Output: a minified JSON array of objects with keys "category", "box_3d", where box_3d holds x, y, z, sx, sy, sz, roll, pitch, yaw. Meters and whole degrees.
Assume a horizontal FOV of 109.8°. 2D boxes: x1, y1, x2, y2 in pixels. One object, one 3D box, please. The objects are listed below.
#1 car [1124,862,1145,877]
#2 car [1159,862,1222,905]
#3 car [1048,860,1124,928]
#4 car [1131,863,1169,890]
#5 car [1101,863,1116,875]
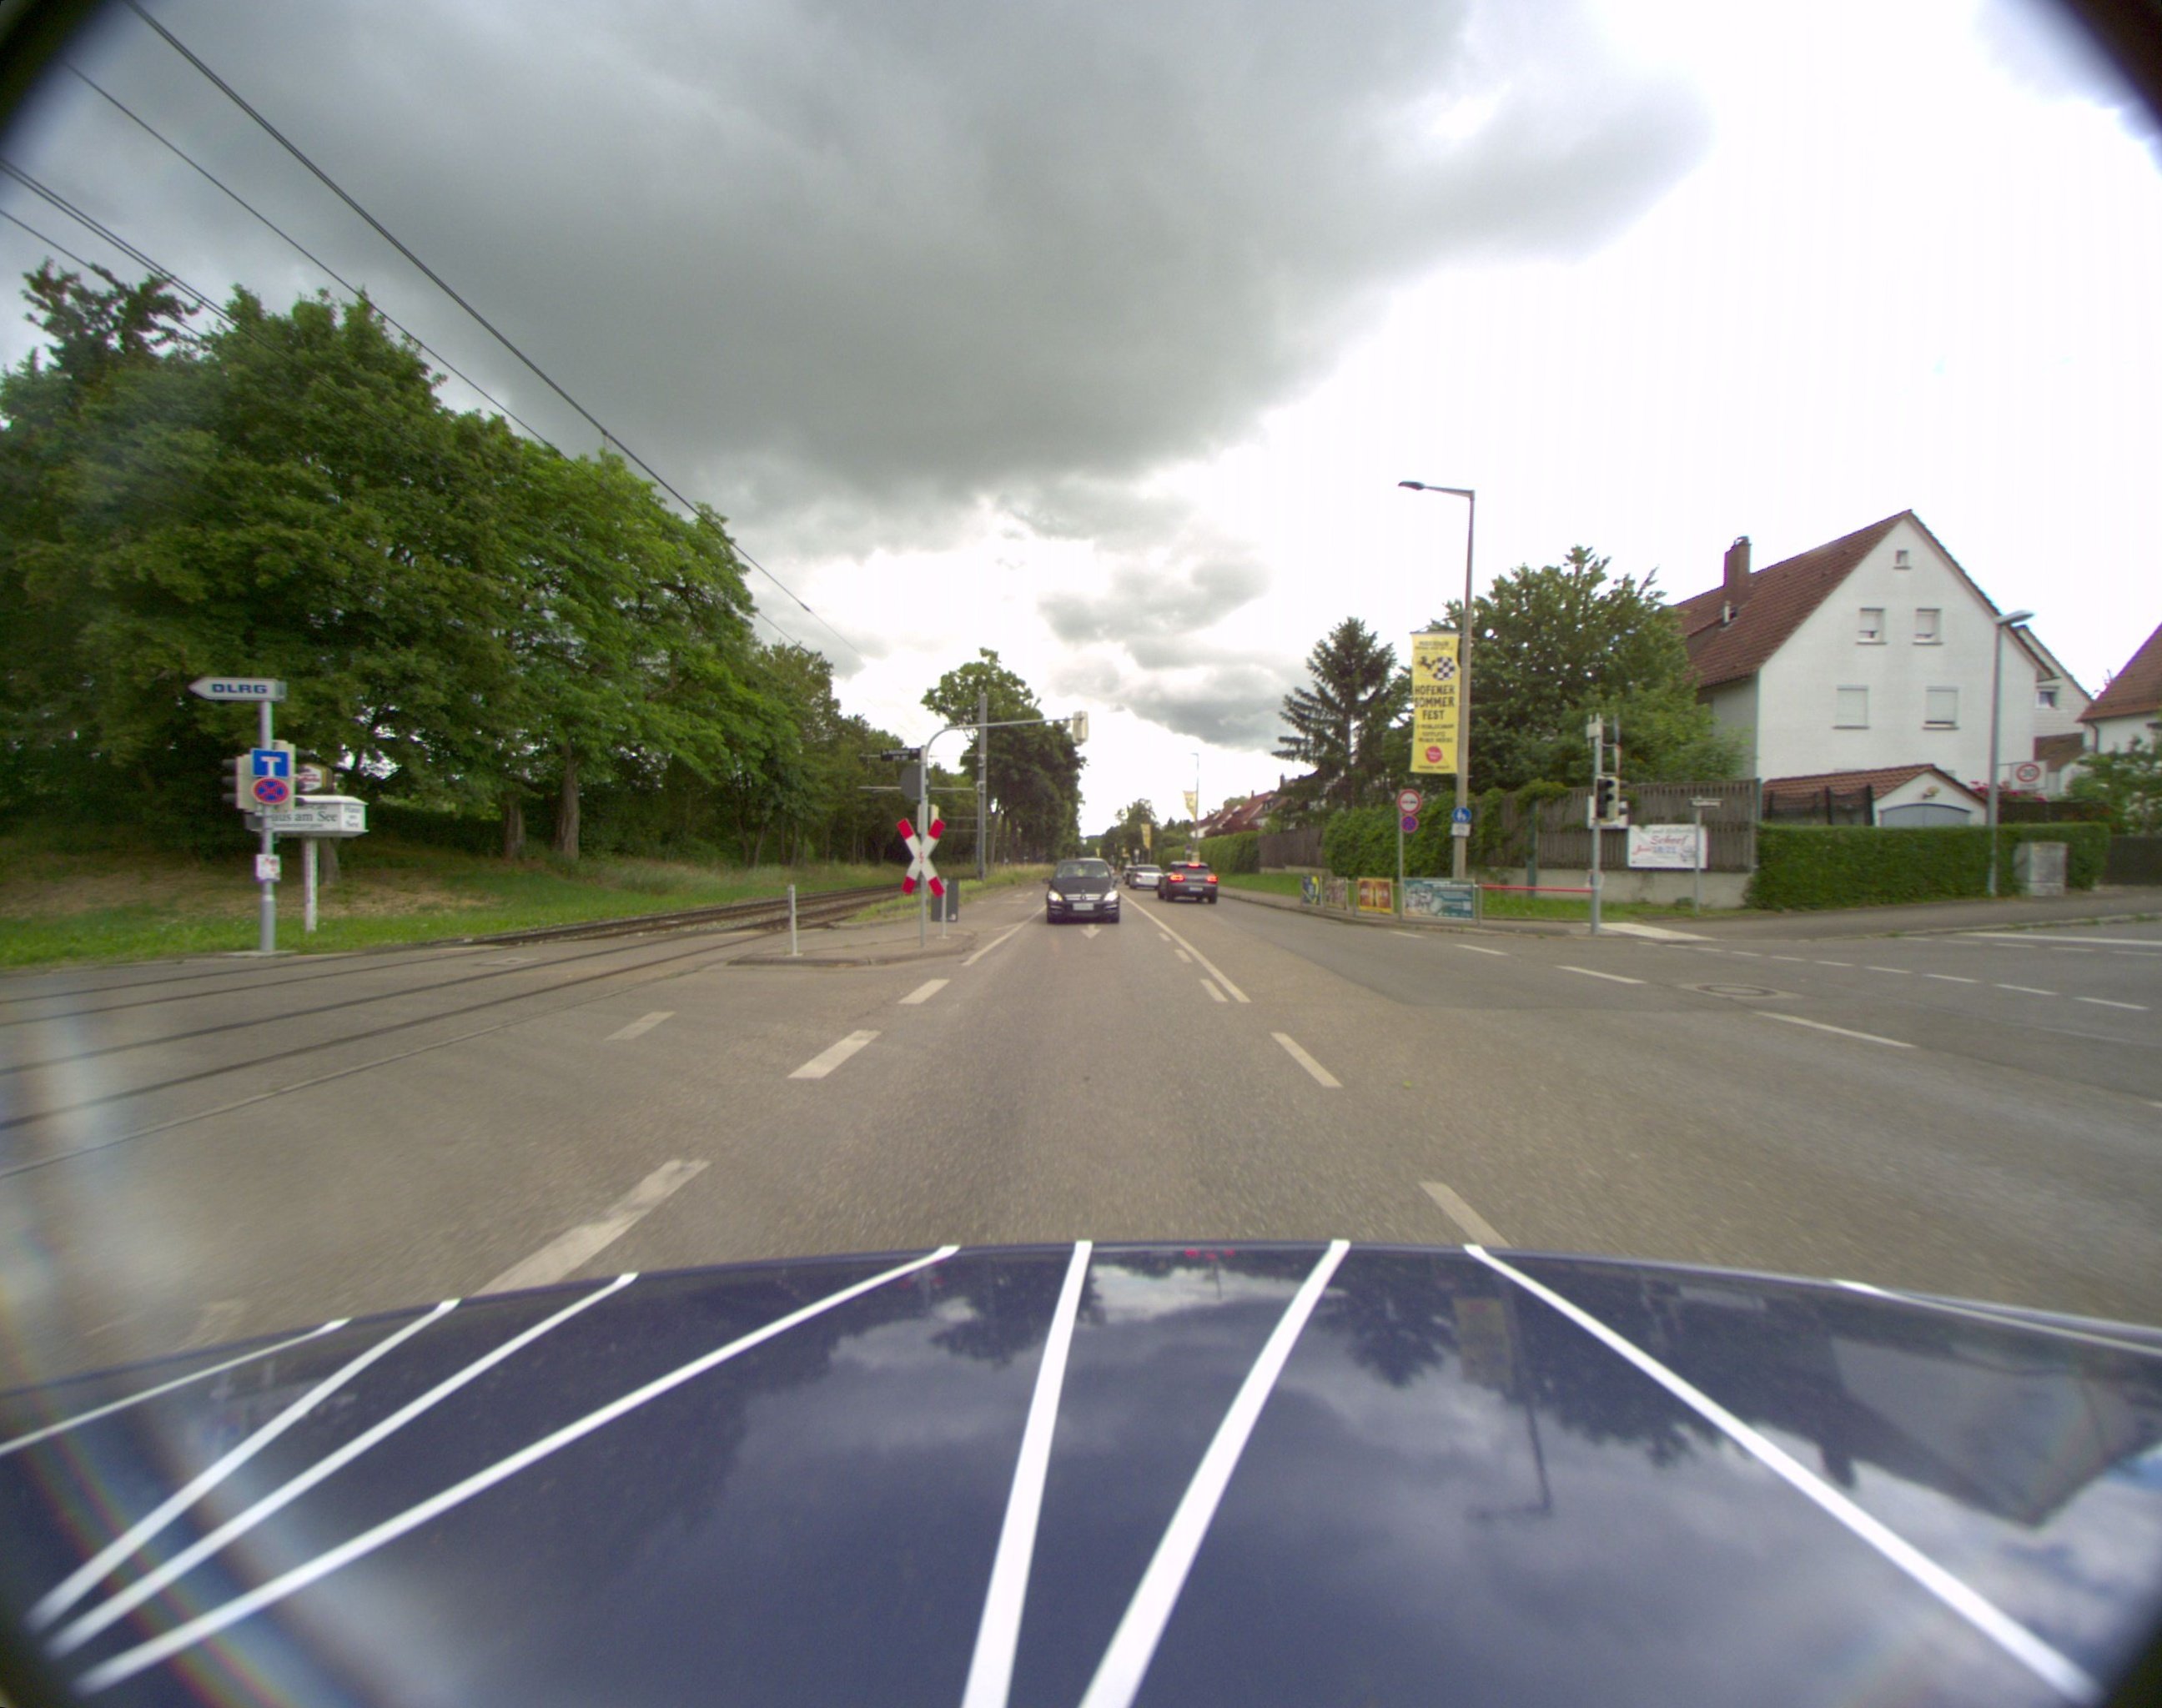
[{"category":"car","box_3d":[5.965,1.752,85.030,1.904,1.569,4.121,2,0,0]},{"category":"car","box_3d":[4.377,1.131,30.949,1.904,1.569,4.279,2,0,0]},{"category":"car","box_3d":[0.103,0.943,19.579,1.749,1.558,4.121,0,0,0]},{"category":"car","box_3d":[4.091,1.308,45.680,1.880,1.501,4.207,2,0,0]},{"category":"car","box_3d":[3.815,2.003,105.511,1.904,1.569,4.121,2,0,0]}]
